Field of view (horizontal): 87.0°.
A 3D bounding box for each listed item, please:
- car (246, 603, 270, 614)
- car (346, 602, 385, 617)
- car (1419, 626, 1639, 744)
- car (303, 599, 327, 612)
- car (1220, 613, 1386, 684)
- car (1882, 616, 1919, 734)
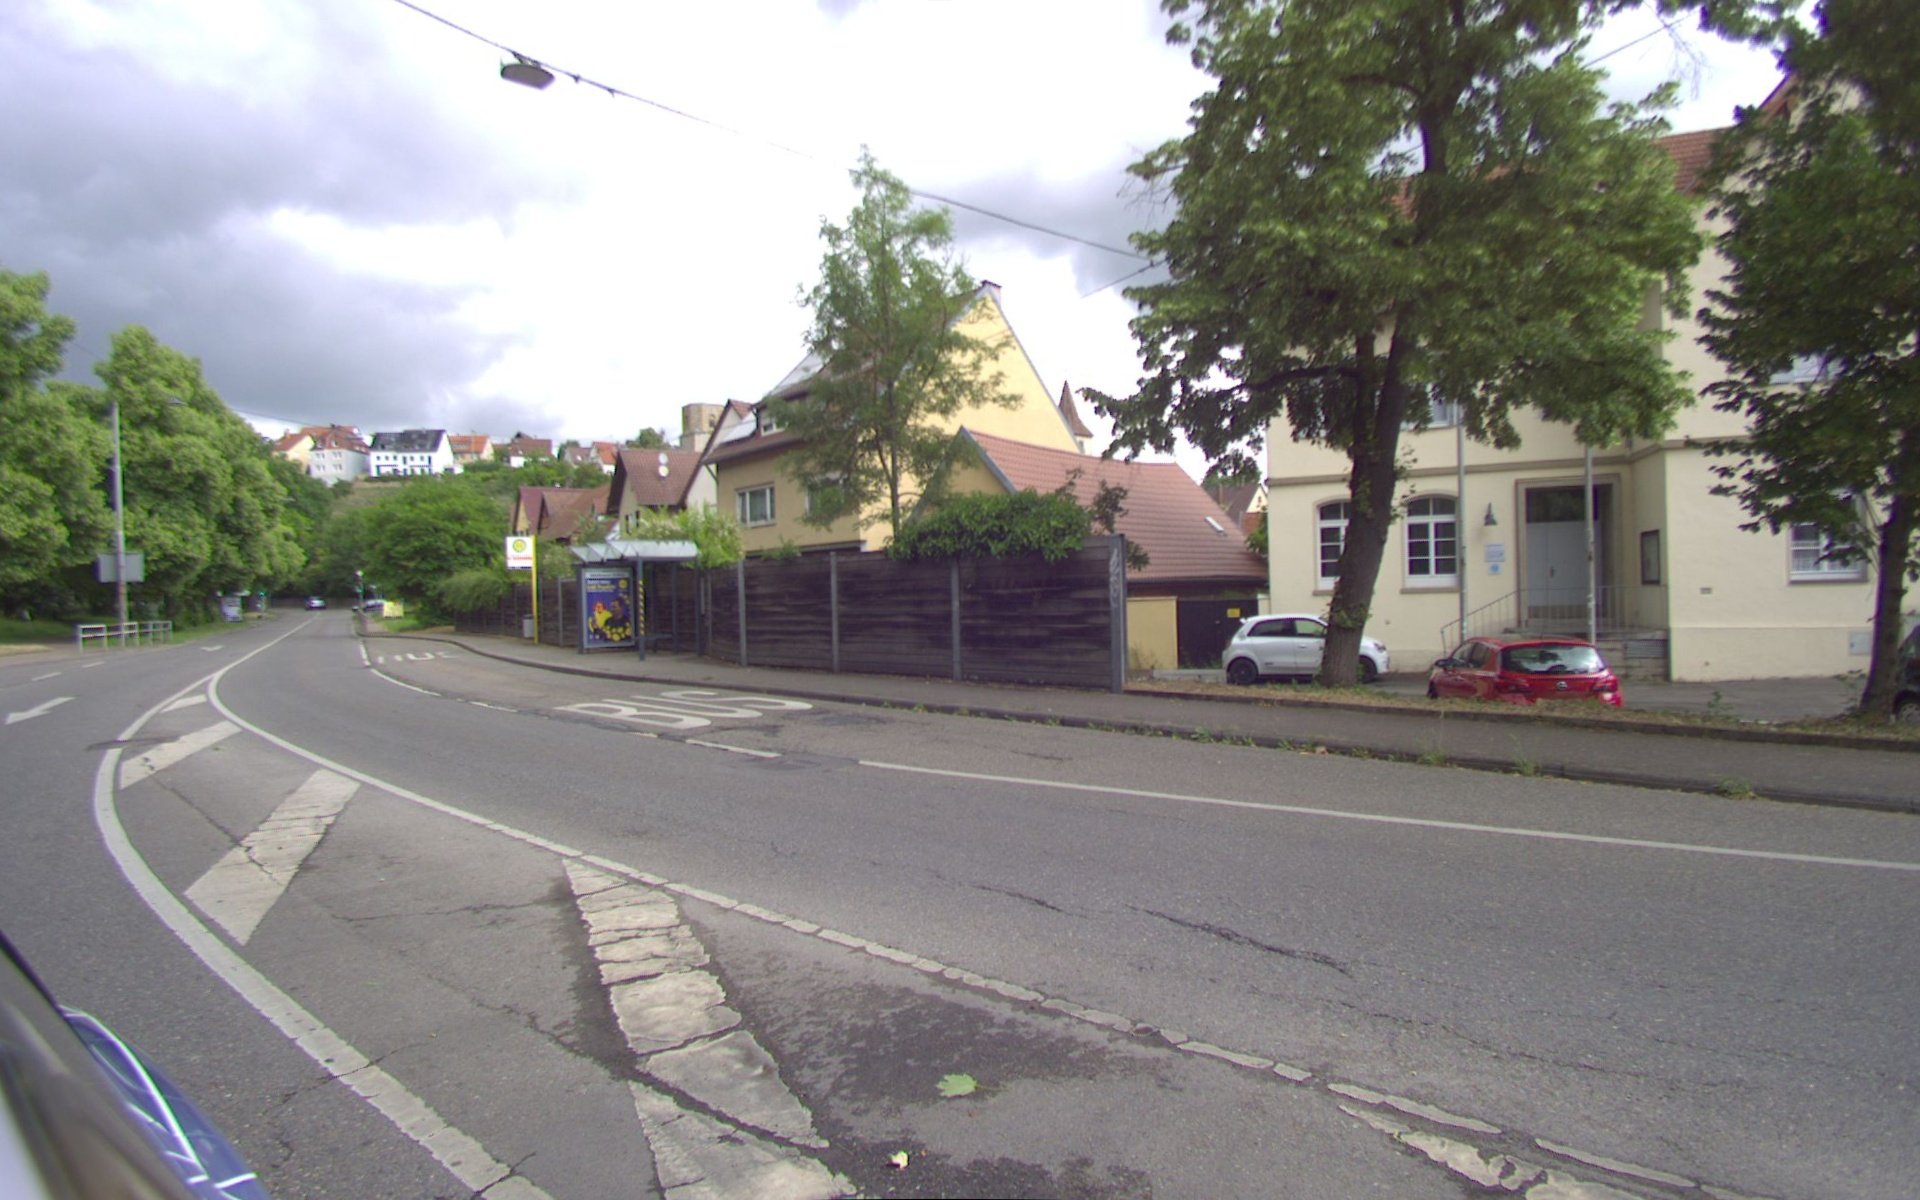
[{"bbox_3d":[-100.137,1.162,144.395,3.675,1.536,1.744,-1,0,36],"label":"car"},{"bbox_3d":[-68.354,1.094,116.458,3.619,1.596,1.771,-1,0,-22],"label":"car"},{"bbox_3d":[8.147,1.150,14.884,1.644,1.393,3.708,-1,0,10],"label":"car"},{"bbox_3d":[-85.739,0.775,134.548,1.970,1.630,4.004,-1,0,-43],"label":"car"},{"bbox_3d":[7.723,1.060,22.890,3.411,1.490,1.600,-1,0,21],"label":"car"},{"bbox_3d":[12.636,0.936,11.309,1.626,1.450,3.567,-1,0,7],"label":"car"}]
